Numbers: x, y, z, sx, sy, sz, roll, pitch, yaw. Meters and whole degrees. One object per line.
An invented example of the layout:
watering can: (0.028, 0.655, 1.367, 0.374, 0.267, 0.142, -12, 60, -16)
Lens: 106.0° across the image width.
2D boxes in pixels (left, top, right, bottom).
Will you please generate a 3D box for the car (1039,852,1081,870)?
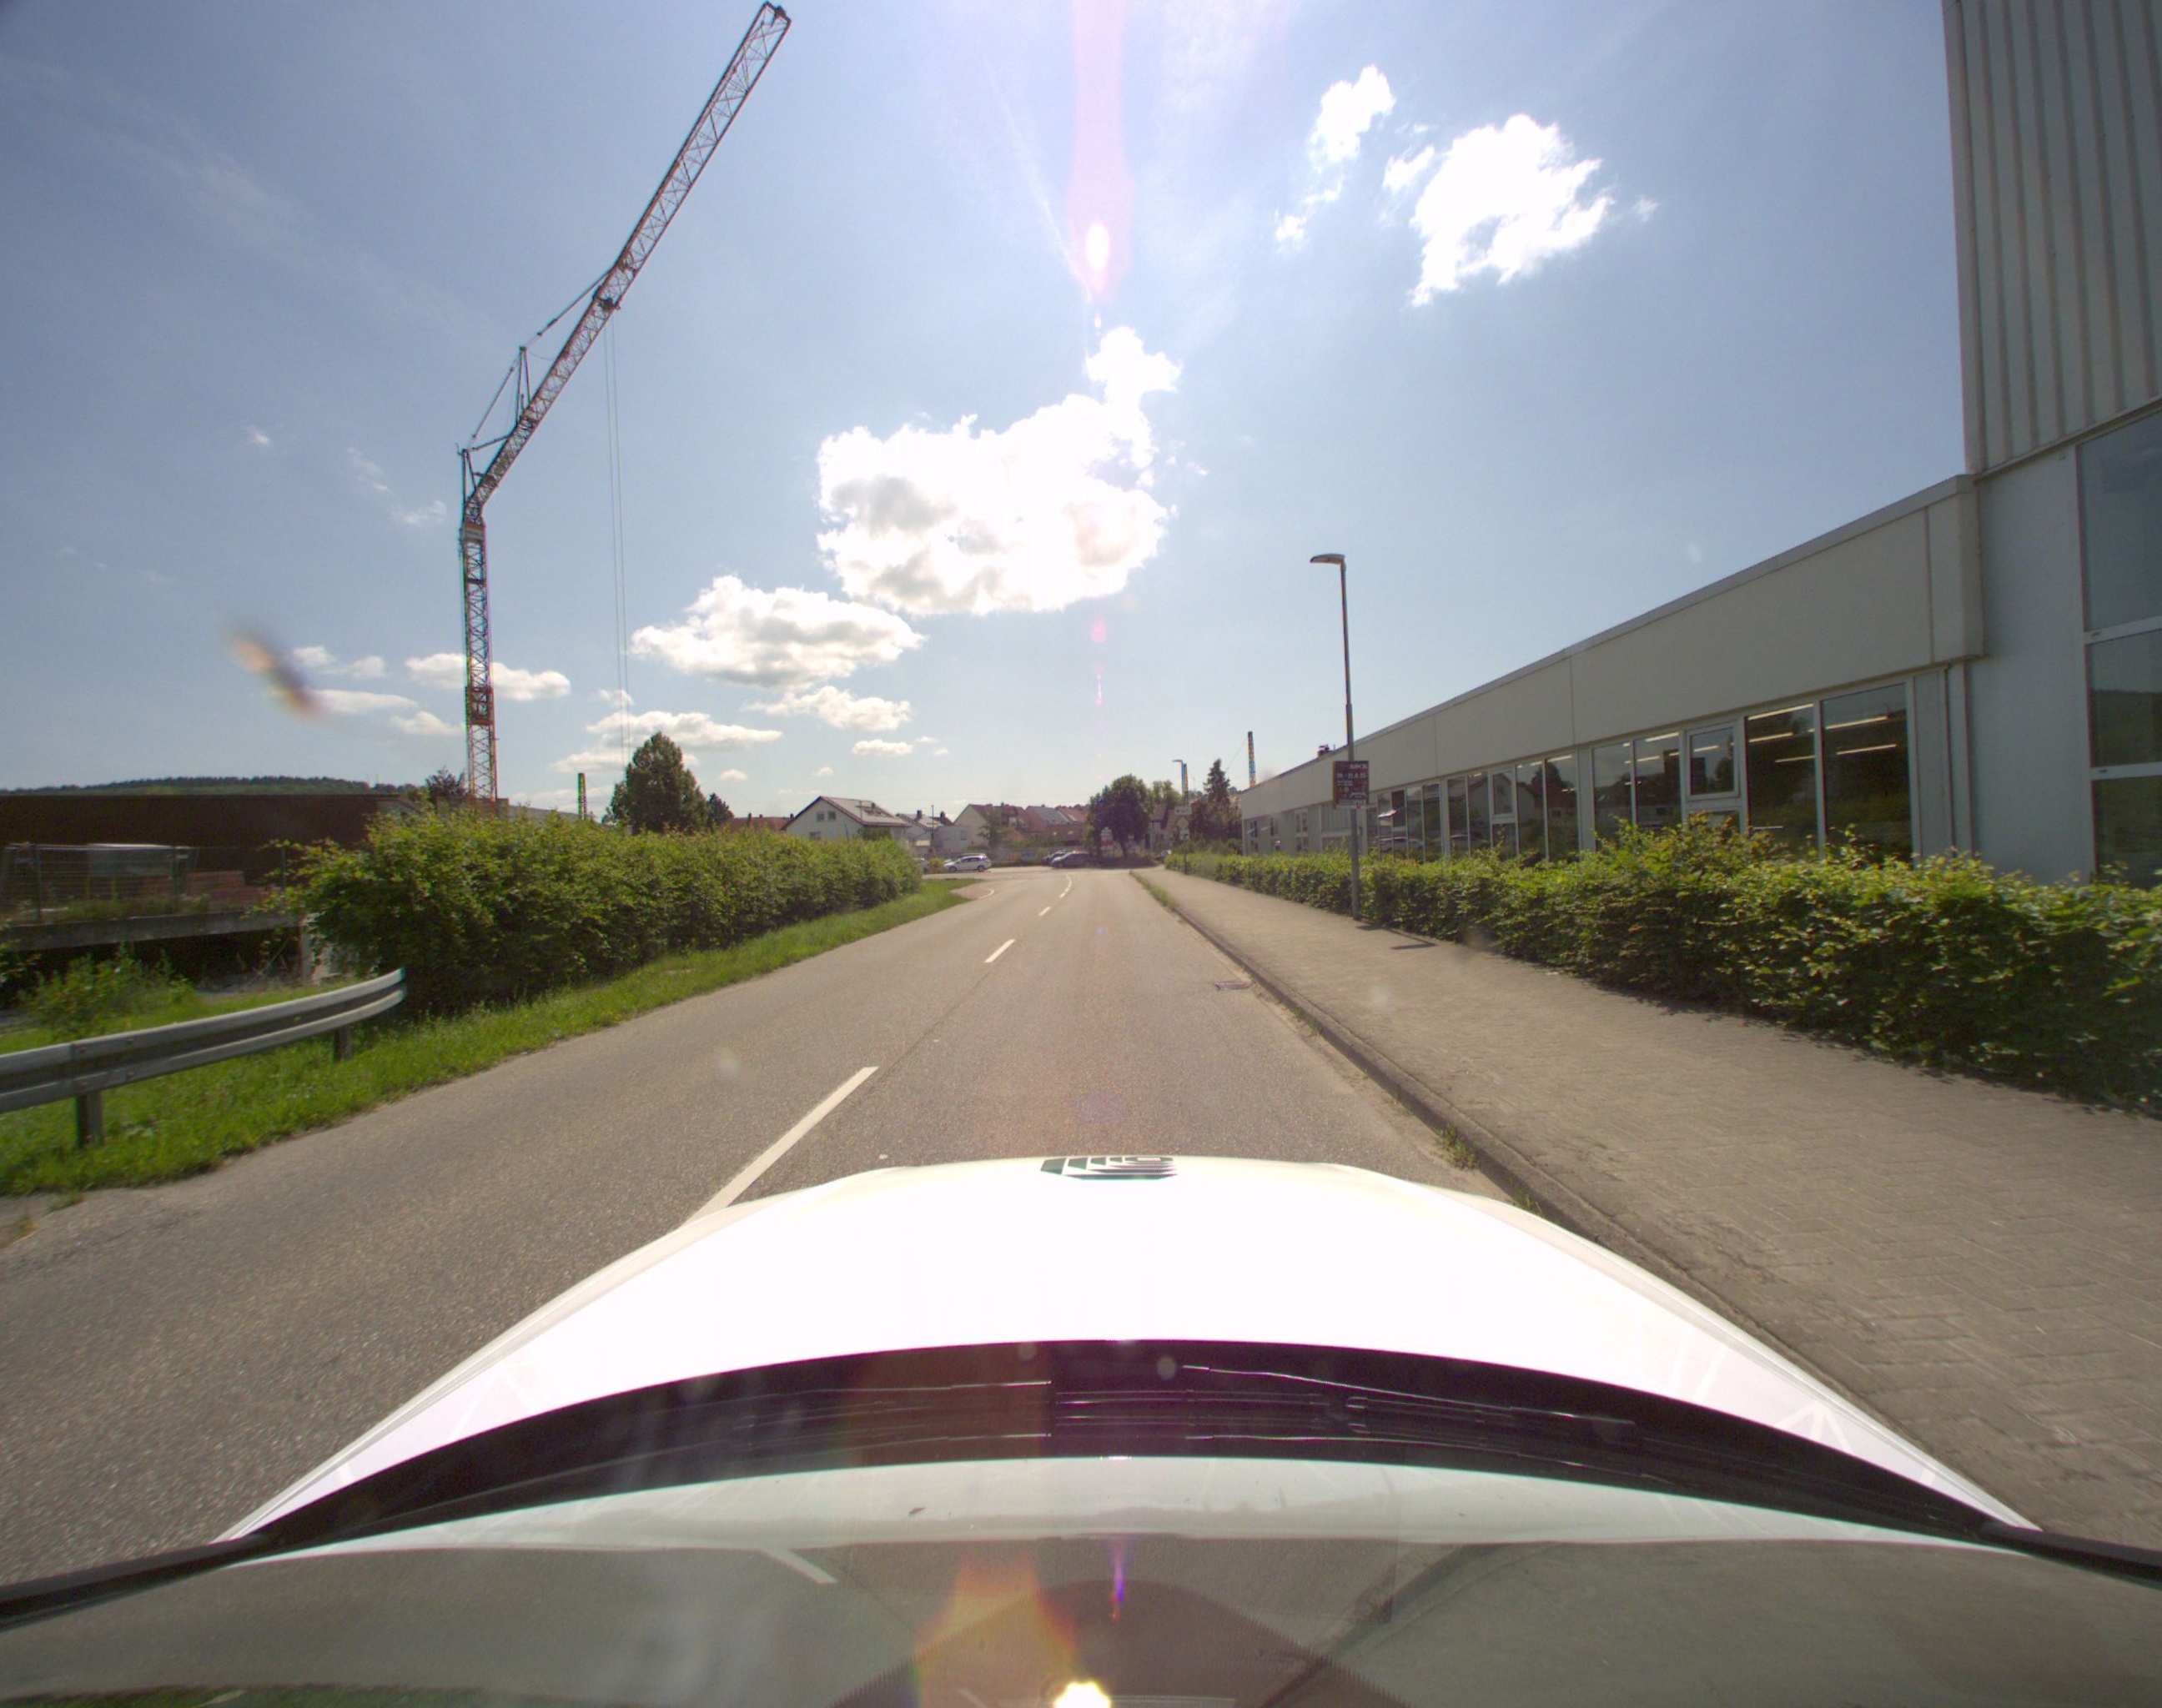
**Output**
car: (-2.156, 0.688, 83.459, 3.985, 1.657, 1.994, -2, 0, -9)

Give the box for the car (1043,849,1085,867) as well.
car: (-1.699, 0.427, 81.085, 3.985, 1.586, 1.775, -2, -1, -8)

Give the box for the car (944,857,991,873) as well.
car: (-10.759, 1.002, 76.930, 4.284, 1.477, 1.820, 0, -1, -11)

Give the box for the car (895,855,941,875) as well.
car: (-15.681, 1.031, 78.338, 4.169, 1.638, 1.945, -4, 0, -16)

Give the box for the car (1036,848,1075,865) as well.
car: (-2.709, 0.298, 86.192, 3.985, 1.730, 1.765, 0, -1, -9)

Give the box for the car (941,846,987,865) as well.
car: (-11.660, 0.140, 81.537, 4.448, 1.690, 1.995, -2, 1, -8)

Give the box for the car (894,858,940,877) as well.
car: (-15.363, 1.272, 76.147, 4.010, 1.562, 1.812, -2, 0, -17)

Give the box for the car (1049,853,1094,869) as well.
car: (-0.915, 0.655, 78.715, 4.184, 1.463, 1.660, -1, -1, -8)
